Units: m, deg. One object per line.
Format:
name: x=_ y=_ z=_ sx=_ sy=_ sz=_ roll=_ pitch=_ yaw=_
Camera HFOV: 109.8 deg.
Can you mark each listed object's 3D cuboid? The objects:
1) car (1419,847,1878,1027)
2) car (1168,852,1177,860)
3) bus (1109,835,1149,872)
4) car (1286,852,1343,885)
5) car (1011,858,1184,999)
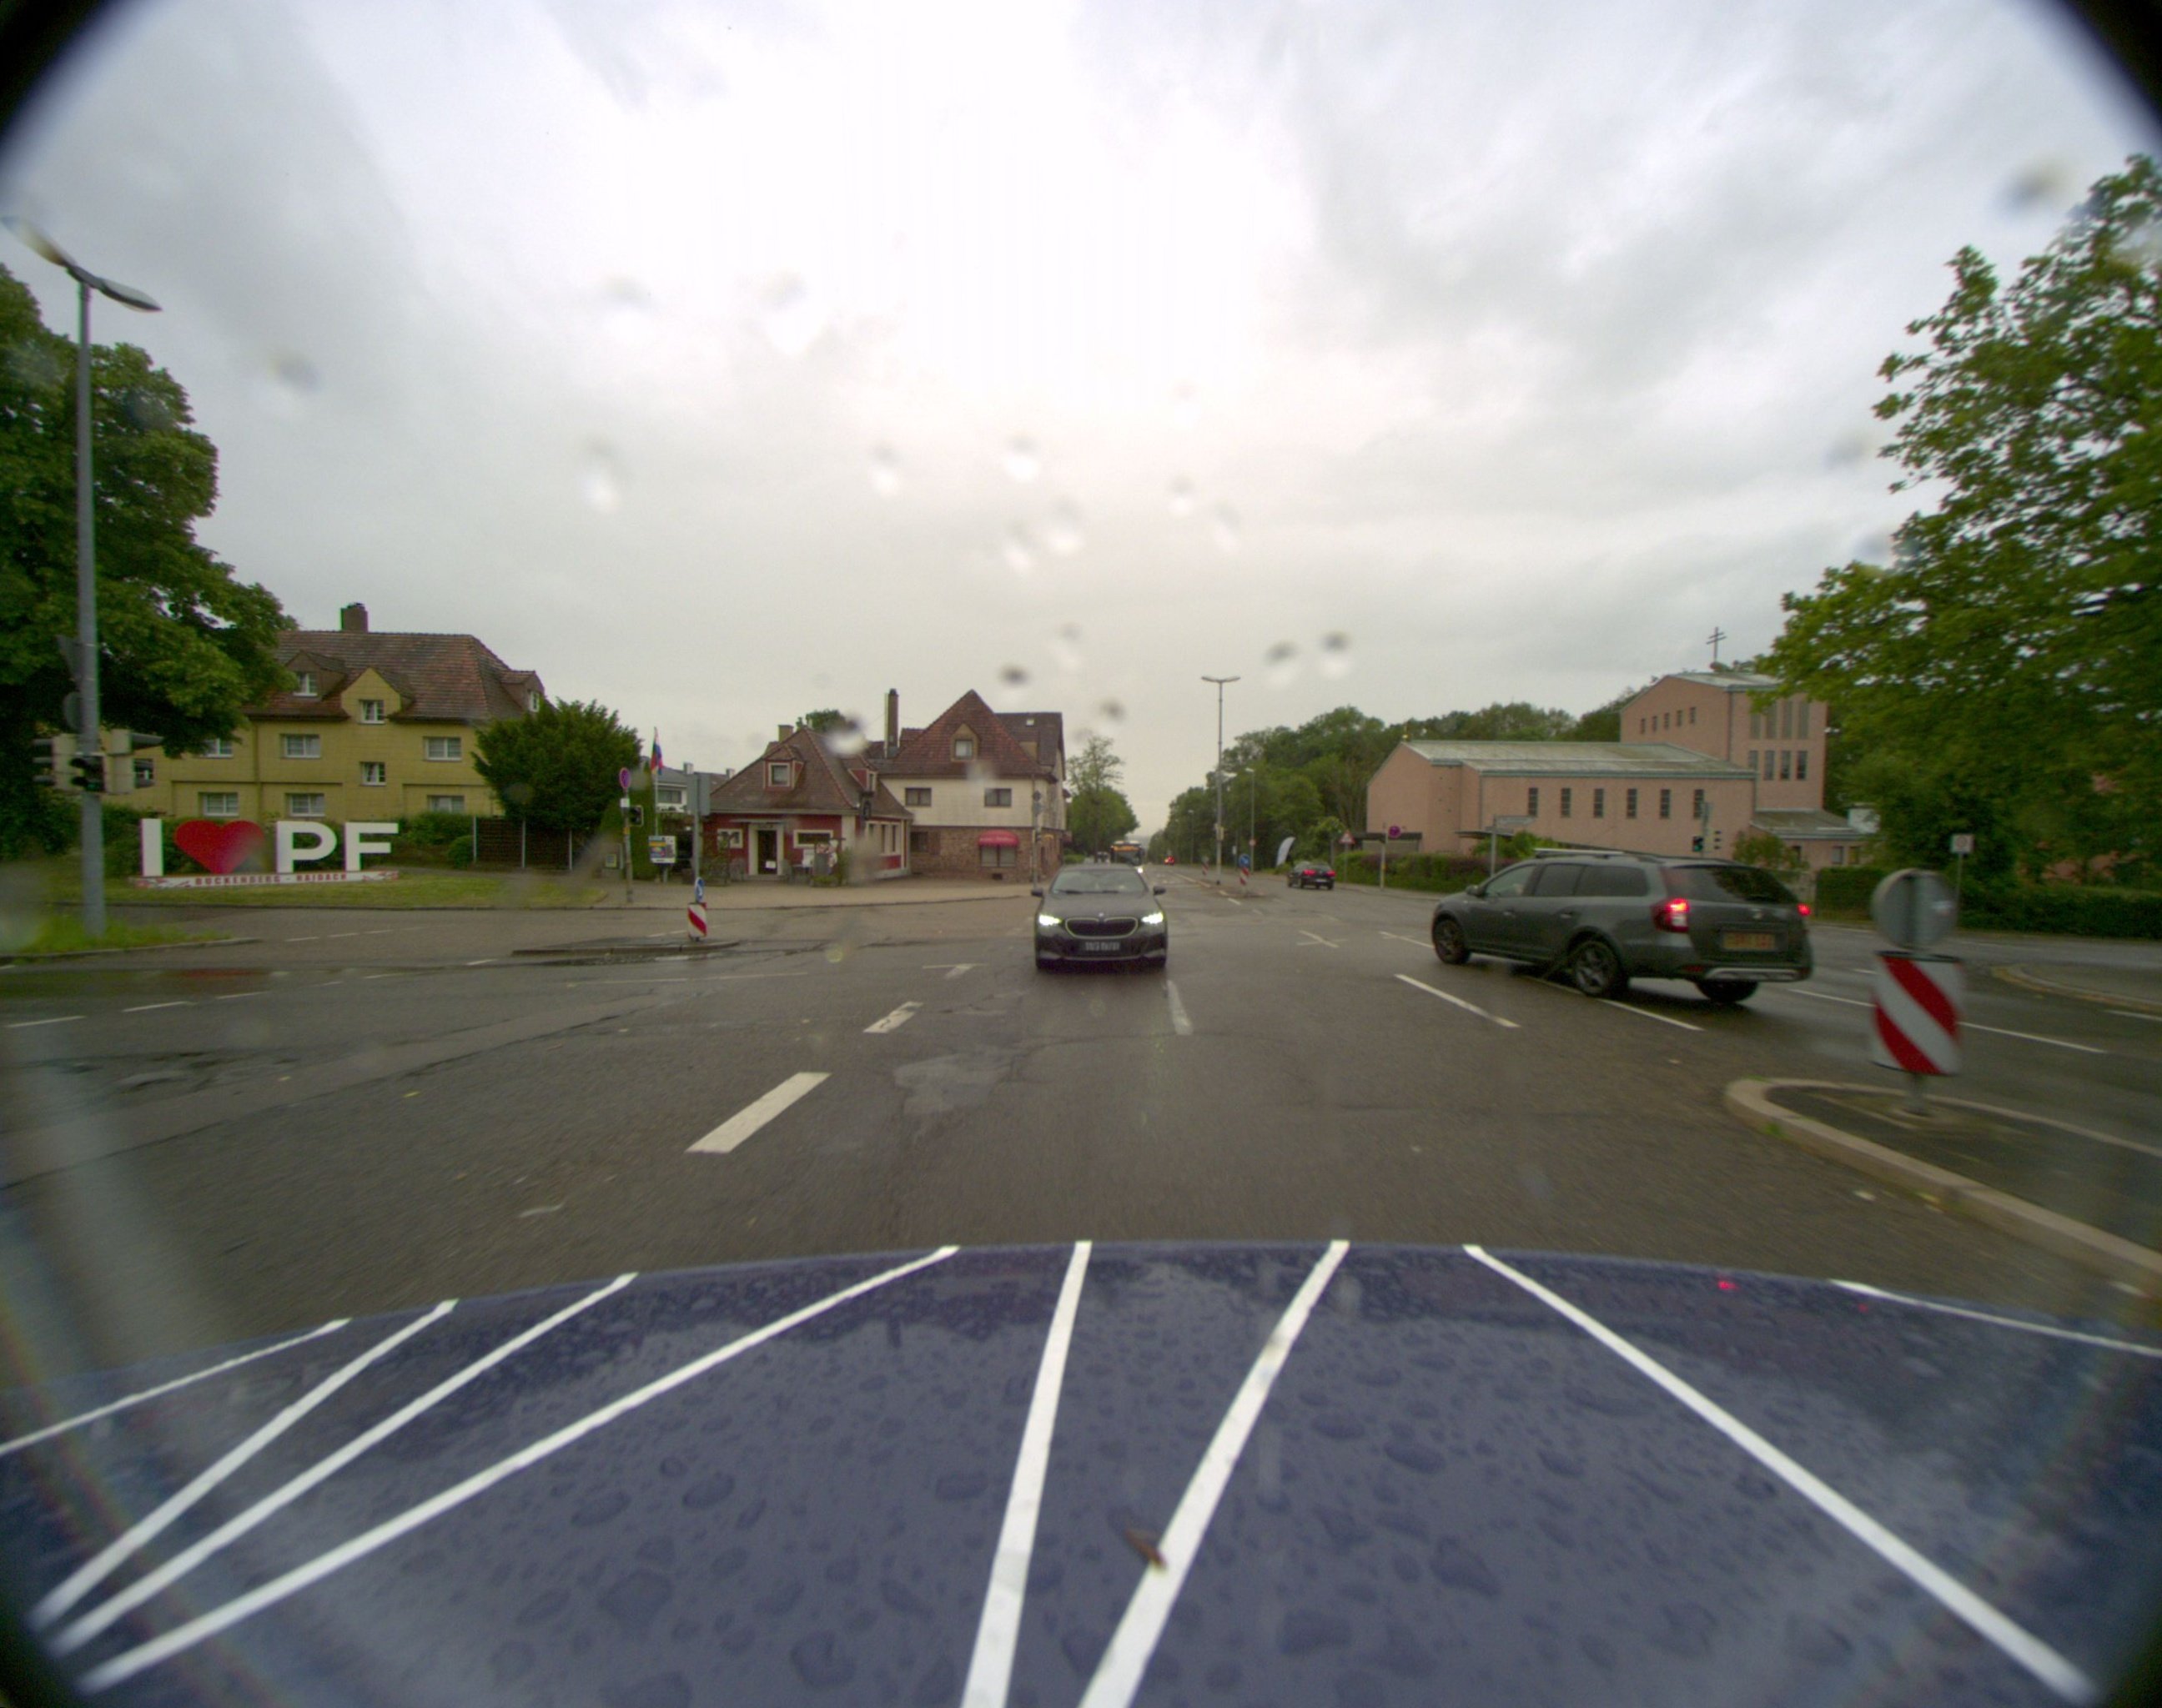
car: x=6.276 y=0.777 z=9.210 sx=2.000 sy=1.652 sz=4.300 roll=1 pitch=0 yaw=-7
car: x=20.844 y=0.497 z=173.229 sx=1.998 sy=1.652 sz=4.305 roll=1 pitch=0 yaw=4
bus: x=3.953 y=-0.100 z=64.503 sx=2.897 sy=2.770 sz=10.385 roll=-2 pitch=1 yaw=1
car: x=12.466 y=0.743 z=40.869 sx=1.998 sy=1.652 sz=4.305 roll=1 pitch=0 yaw=4
car: x=0.226 y=0.905 z=11.144 sx=1.998 sy=1.586 sz=4.147 roll=-3 pitch=0 yaw=1
